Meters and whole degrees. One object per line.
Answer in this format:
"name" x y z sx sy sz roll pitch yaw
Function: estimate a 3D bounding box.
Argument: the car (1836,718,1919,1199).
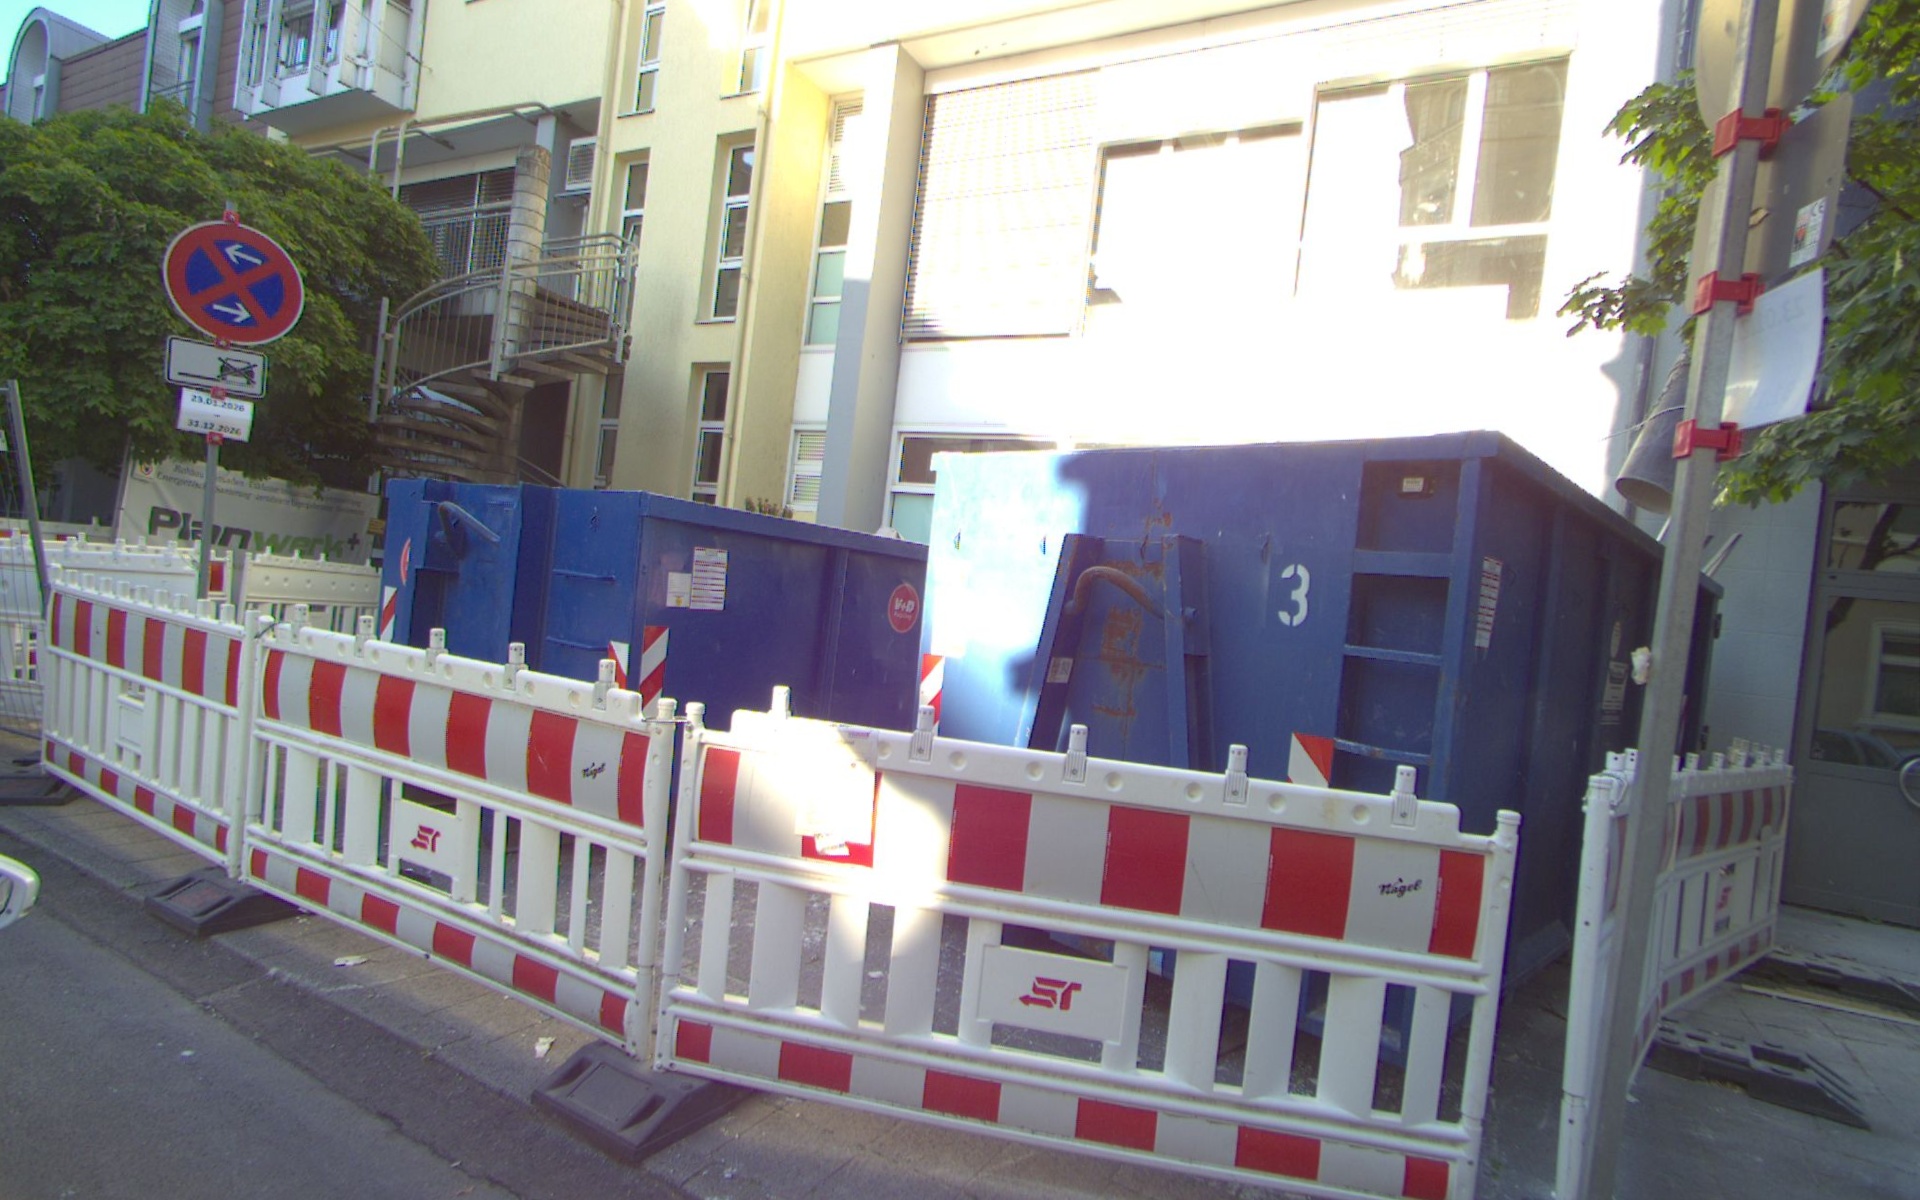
"car" 3.014 1.131 0.454 3.668 1.495 1.677 7 1 32
